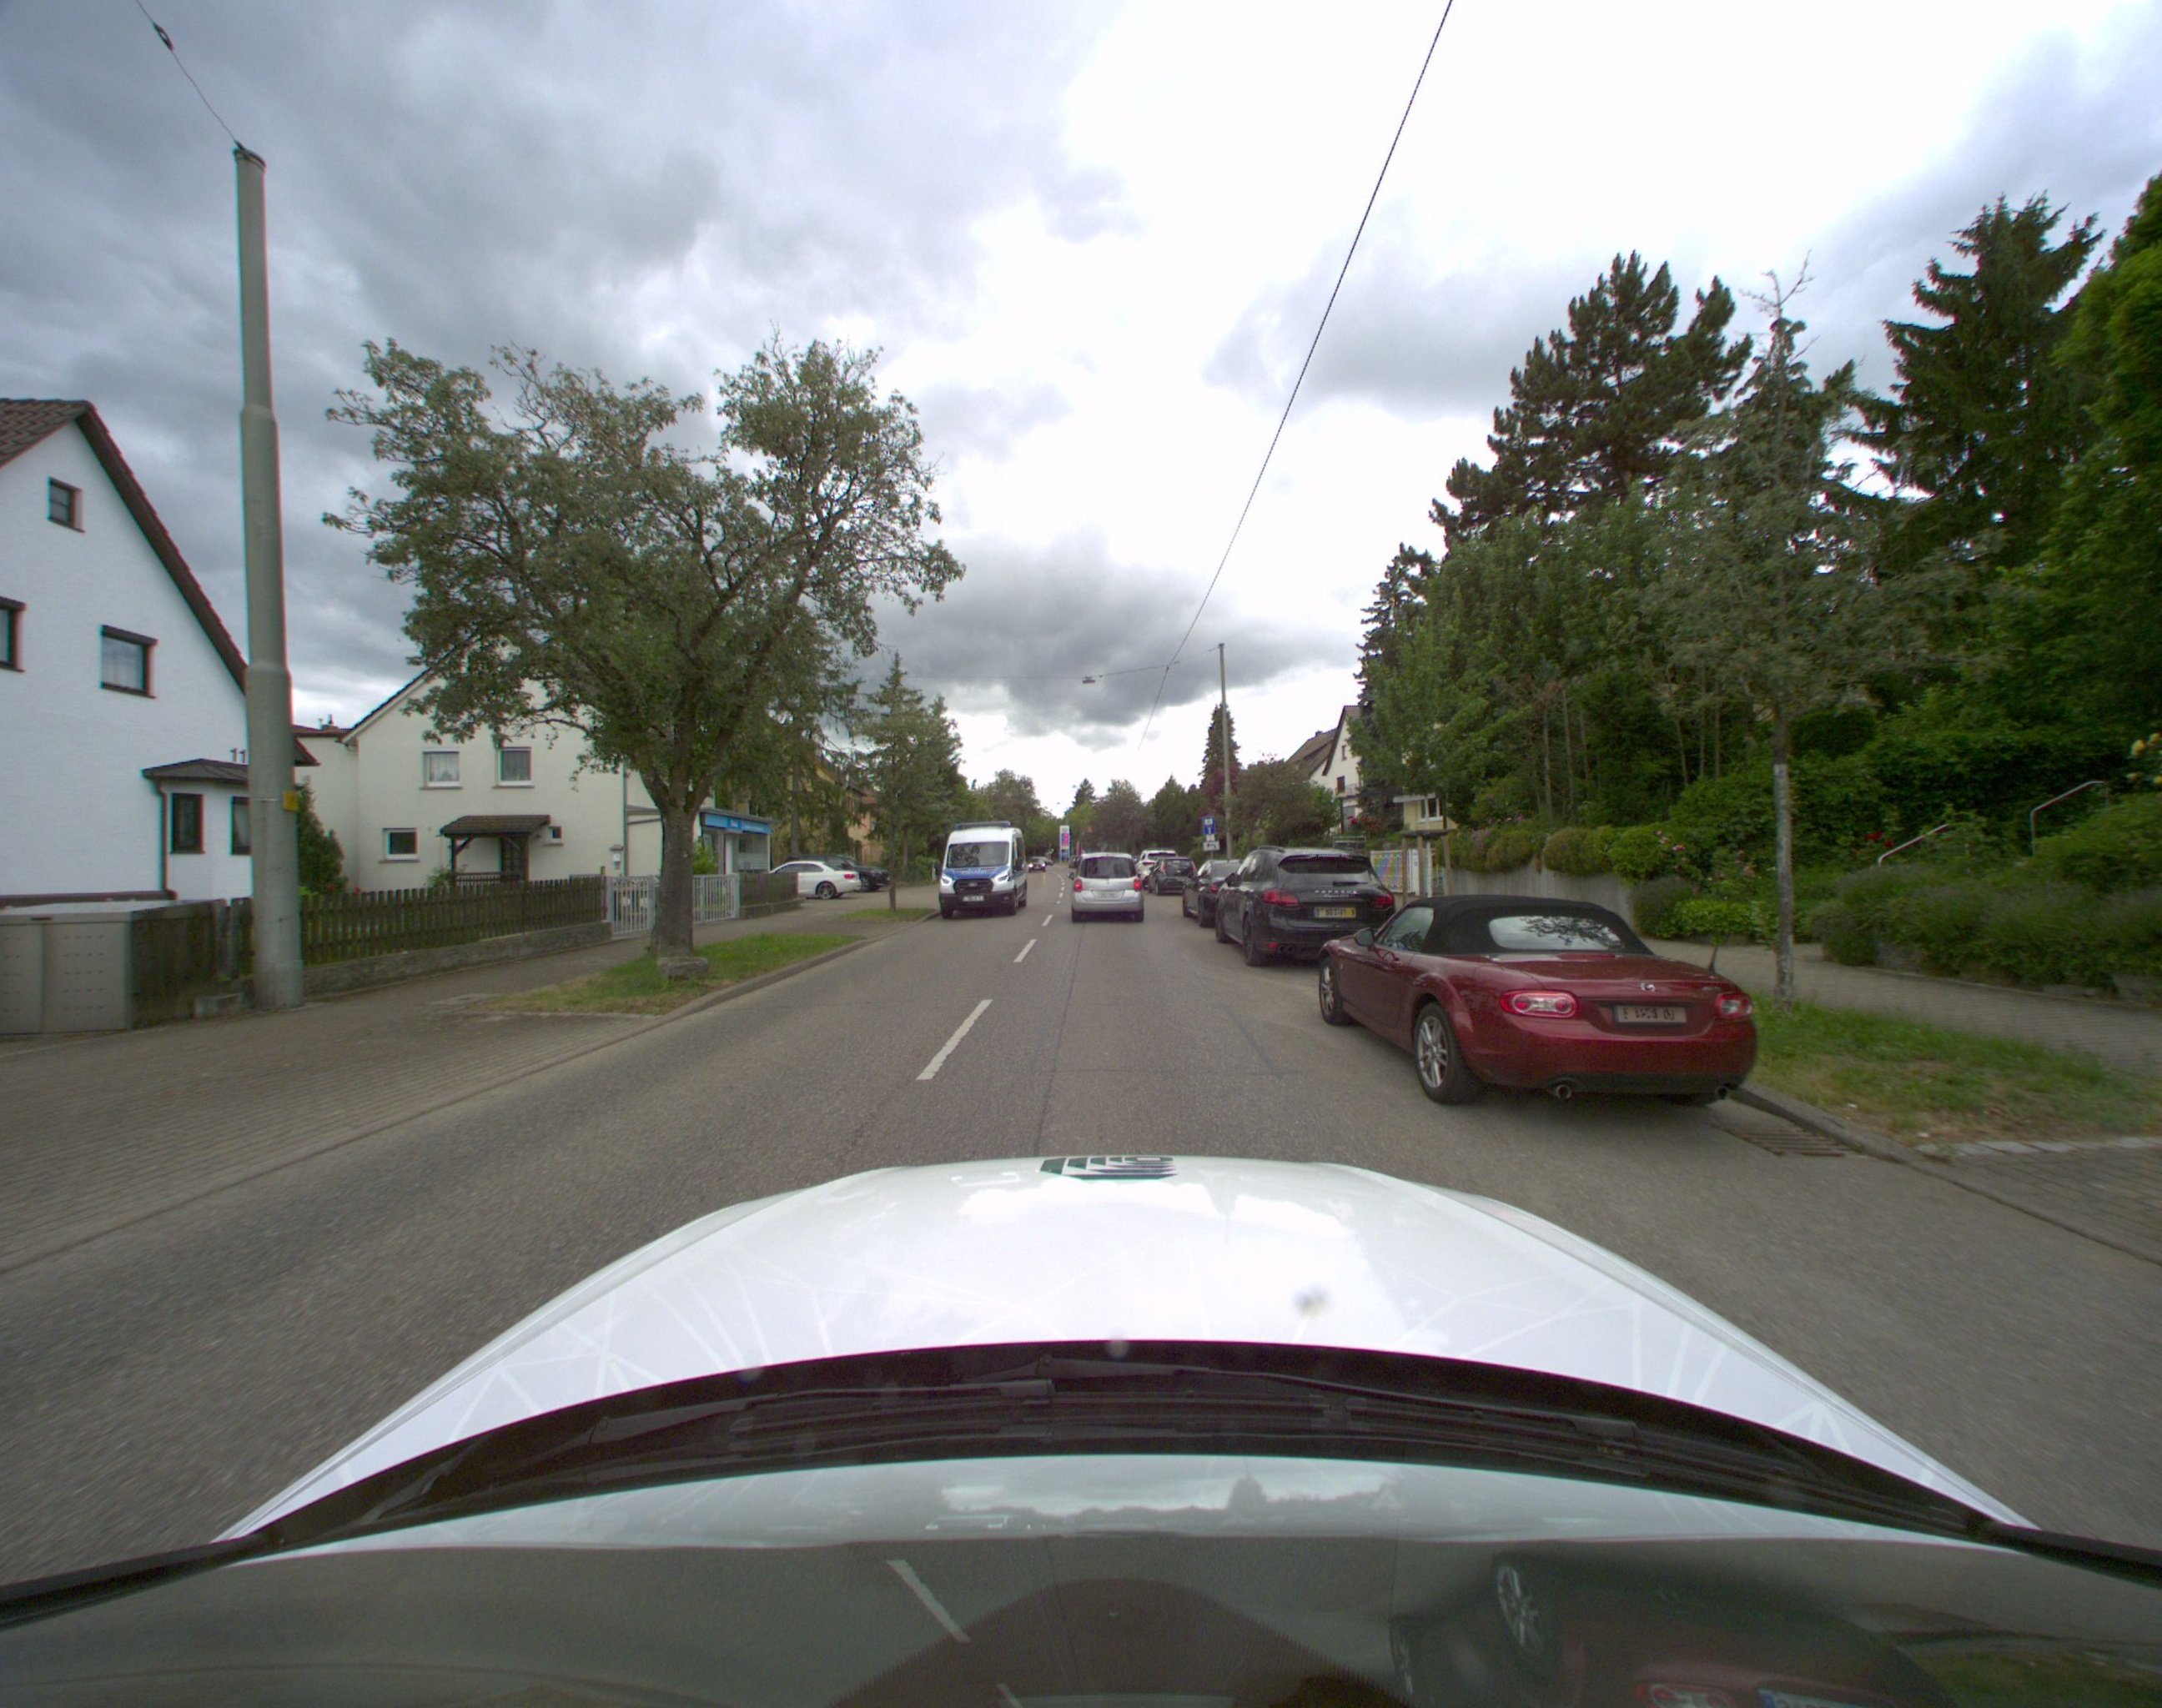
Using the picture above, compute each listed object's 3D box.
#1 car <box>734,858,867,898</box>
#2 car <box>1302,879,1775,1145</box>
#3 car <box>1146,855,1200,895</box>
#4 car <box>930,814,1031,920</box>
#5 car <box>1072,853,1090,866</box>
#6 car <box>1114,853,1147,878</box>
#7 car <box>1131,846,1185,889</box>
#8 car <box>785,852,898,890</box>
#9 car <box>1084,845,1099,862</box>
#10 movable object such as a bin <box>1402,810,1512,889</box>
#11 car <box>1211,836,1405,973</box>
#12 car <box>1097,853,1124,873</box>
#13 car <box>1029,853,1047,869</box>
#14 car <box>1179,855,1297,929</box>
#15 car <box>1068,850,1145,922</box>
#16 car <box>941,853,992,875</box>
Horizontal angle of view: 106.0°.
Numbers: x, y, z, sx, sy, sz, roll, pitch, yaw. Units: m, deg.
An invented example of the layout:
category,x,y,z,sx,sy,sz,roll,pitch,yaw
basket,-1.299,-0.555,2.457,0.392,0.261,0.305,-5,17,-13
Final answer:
category,x,y,z,sx,sy,sz,roll,pitch,yaw
car,-10.258,0.883,30.009,4.272,1.368,1.813,1,-1,-6
car,2.906,0.880,6.180,1.476,1.236,3.885,1,0,1
car,3.506,0.773,31.466,1.554,1.443,3.503,0,0,-3
car,-2.737,0.332,23.444,2.066,2.582,5.300,-3,0,0
car,-0.026,0.704,98.336,1.694,1.506,3.963,-1,0,-7
car,3.127,0.704,51.580,1.623,1.452,3.871,-2,0,-3
car,3.363,0.581,36.316,1.795,1.778,4.700,0,0,-3
car,-10.427,0.751,35.623,4.317,1.618,1.974,0,-1,1
car,1.827,-0.048,143.450,2.277,2.911,5.270,0,0,-4
movable object such as a bin,9.941,-0.102,21.589,2.306,2.014,1.341,0,-1,-4
car,3.207,0.634,12.469,1.823,1.712,4.551,0,0,2
car,2.429,0.732,67.364,1.693,1.557,3.947,0,-1,-5
car,-4.247,0.724,80.870,1.571,1.472,3.467,-4,0,-3
car,3.383,0.752,18.371,1.824,1.457,4.550,0,0,0
car,0.615,0.698,19.608,1.673,1.560,3.513,0,0,2
car,-9.459,0.790,67.492,4.078,1.706,1.745,1,0,-4
